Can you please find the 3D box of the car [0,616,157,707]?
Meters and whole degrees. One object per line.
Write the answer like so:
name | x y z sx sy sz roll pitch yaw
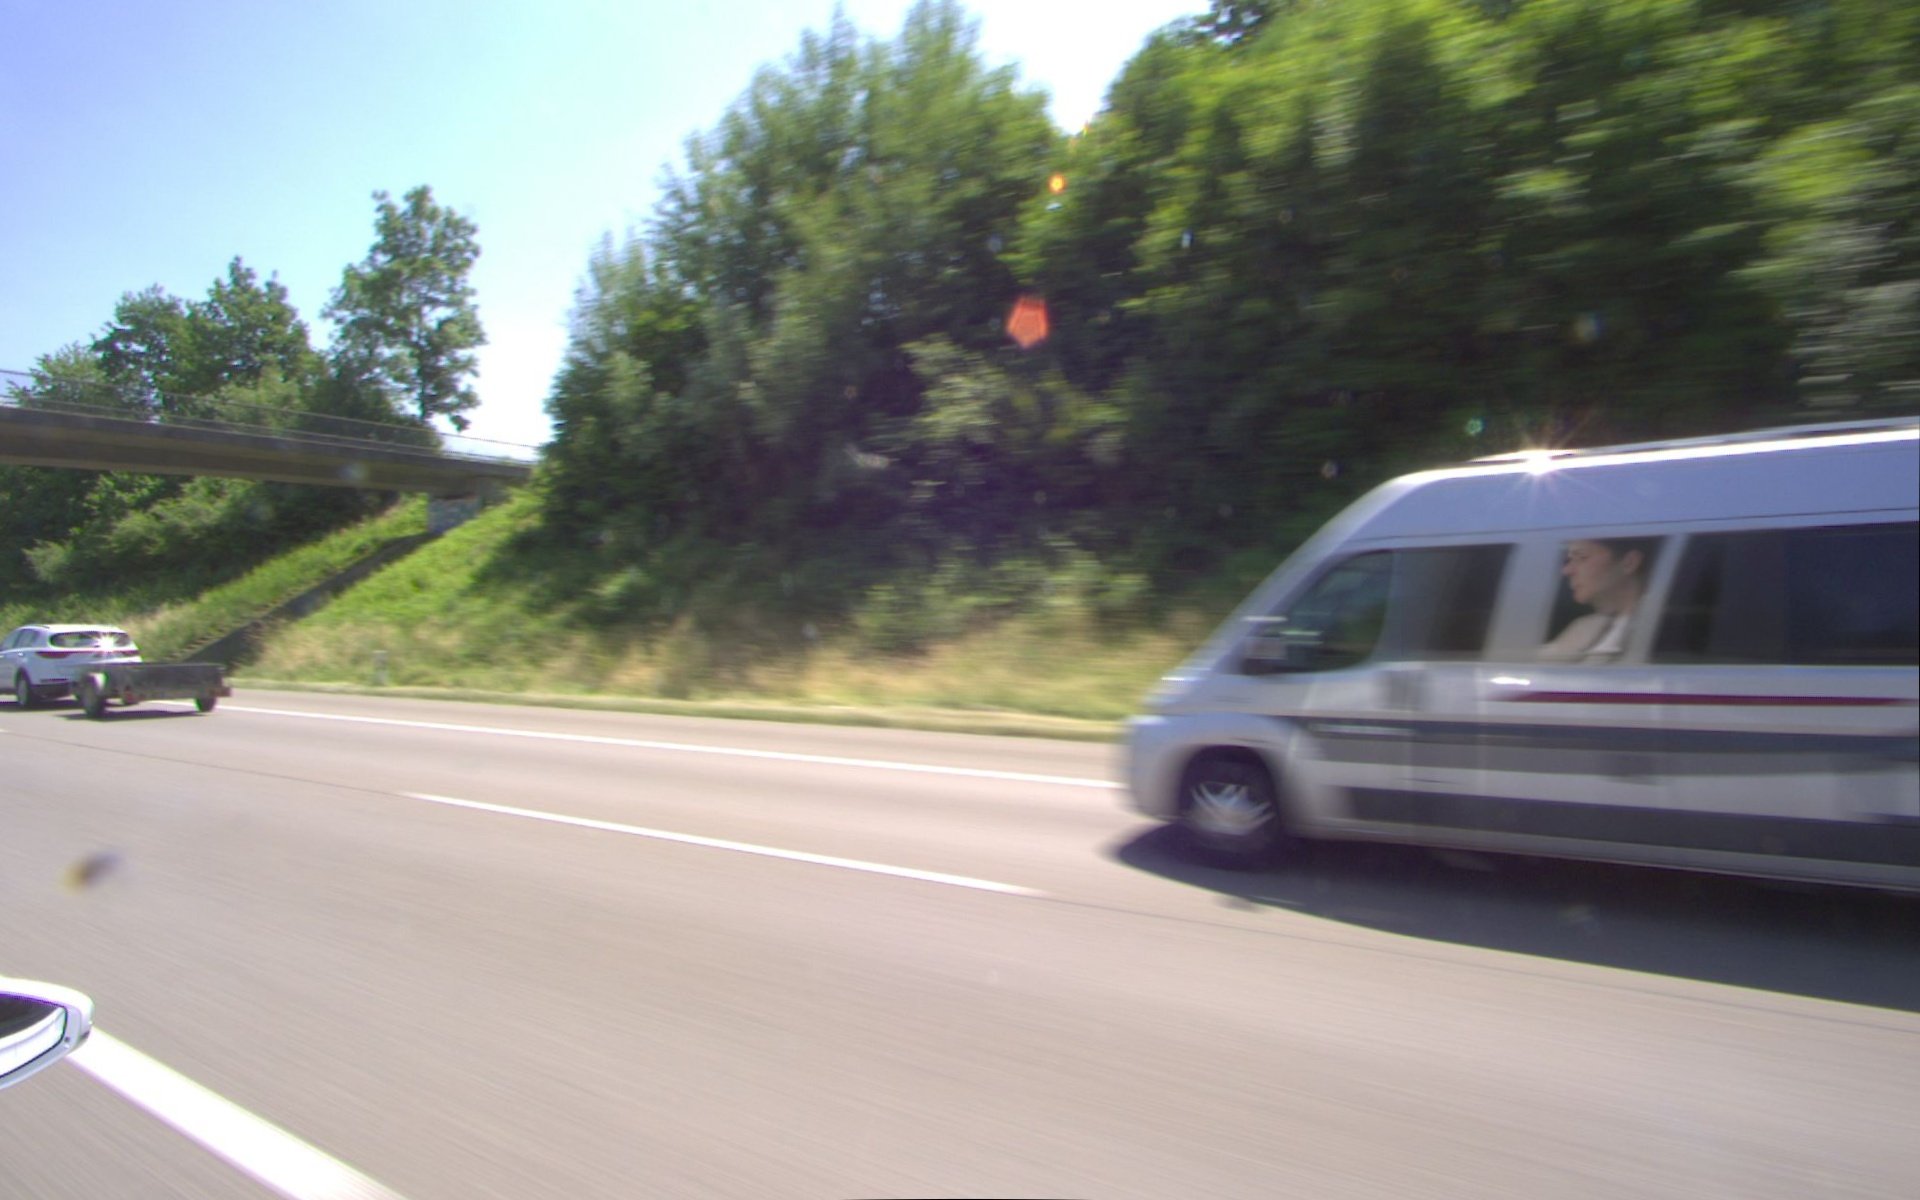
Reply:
car | -18.675 1.199 20.818 4.339 1.672 1.778 0 -1 32

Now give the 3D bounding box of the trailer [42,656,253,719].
trailer | -15.033 1.551 18.484 4.257 0.920 1.751 -1 -2 32

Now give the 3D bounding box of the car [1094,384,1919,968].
car | 4.206 0.364 5.770 6.526 2.609 2.086 0 -1 32
